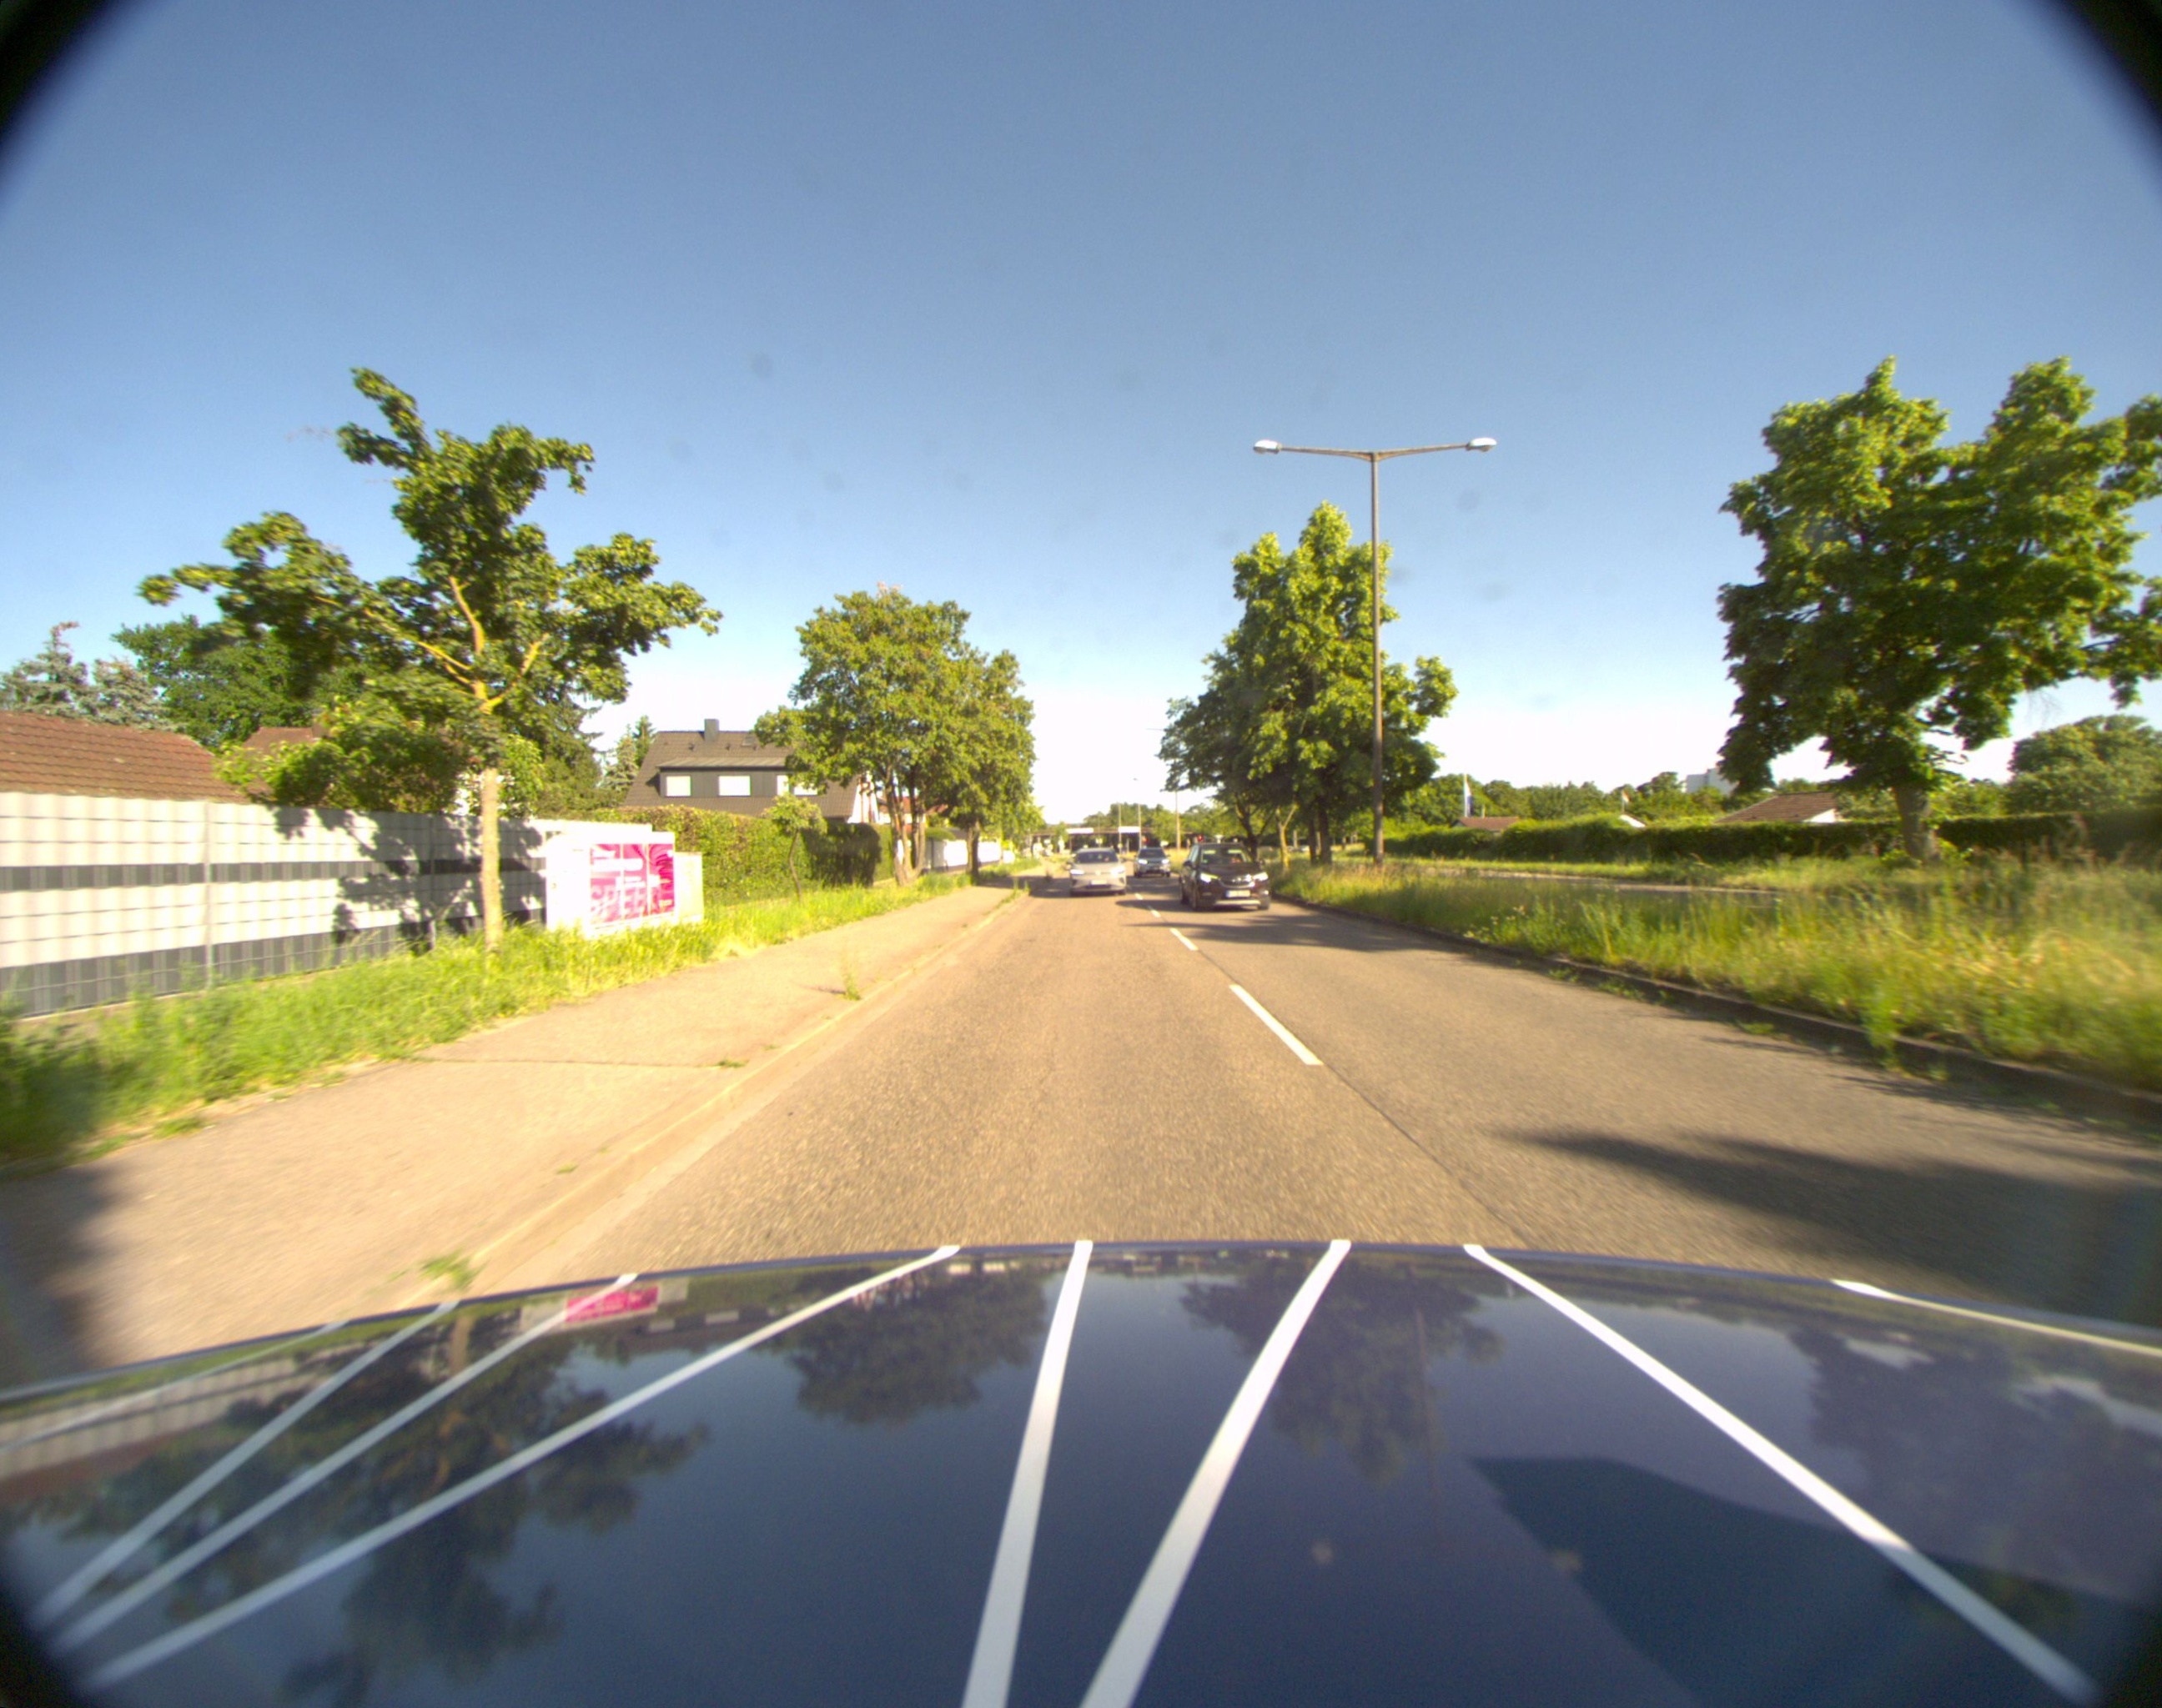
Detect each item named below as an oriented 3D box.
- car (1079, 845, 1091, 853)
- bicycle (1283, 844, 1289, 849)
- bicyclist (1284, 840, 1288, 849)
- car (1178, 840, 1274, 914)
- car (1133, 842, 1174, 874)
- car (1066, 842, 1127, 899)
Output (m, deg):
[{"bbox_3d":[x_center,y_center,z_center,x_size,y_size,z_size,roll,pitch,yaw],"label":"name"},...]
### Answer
[{"bbox_3d":[0.738,-0.968,145.012,1.874,1.611,3.833,-2,1,-8],"label":"car"},{"bbox_3d":[30.338,-1.169,112.502,0.566,0.691,1.876,-2,1,9],"label":"bicycle"},{"bbox_3d":[30.346,-1.450,112.530,0.584,1.249,0.576,-2,1,8],"label":"bicyclist"},{"bbox_3d":[3.524,0.502,19.118,1.714,1.653,3.856,-1,1,1],"label":"car"},{"bbox_3d":[3.915,0.182,41.538,1.830,1.604,4.092,-2,1,1],"label":"car"},{"bbox_3d":[0.539,0.479,25.173,1.801,1.665,4.239,-2,1,2],"label":"car"}]
